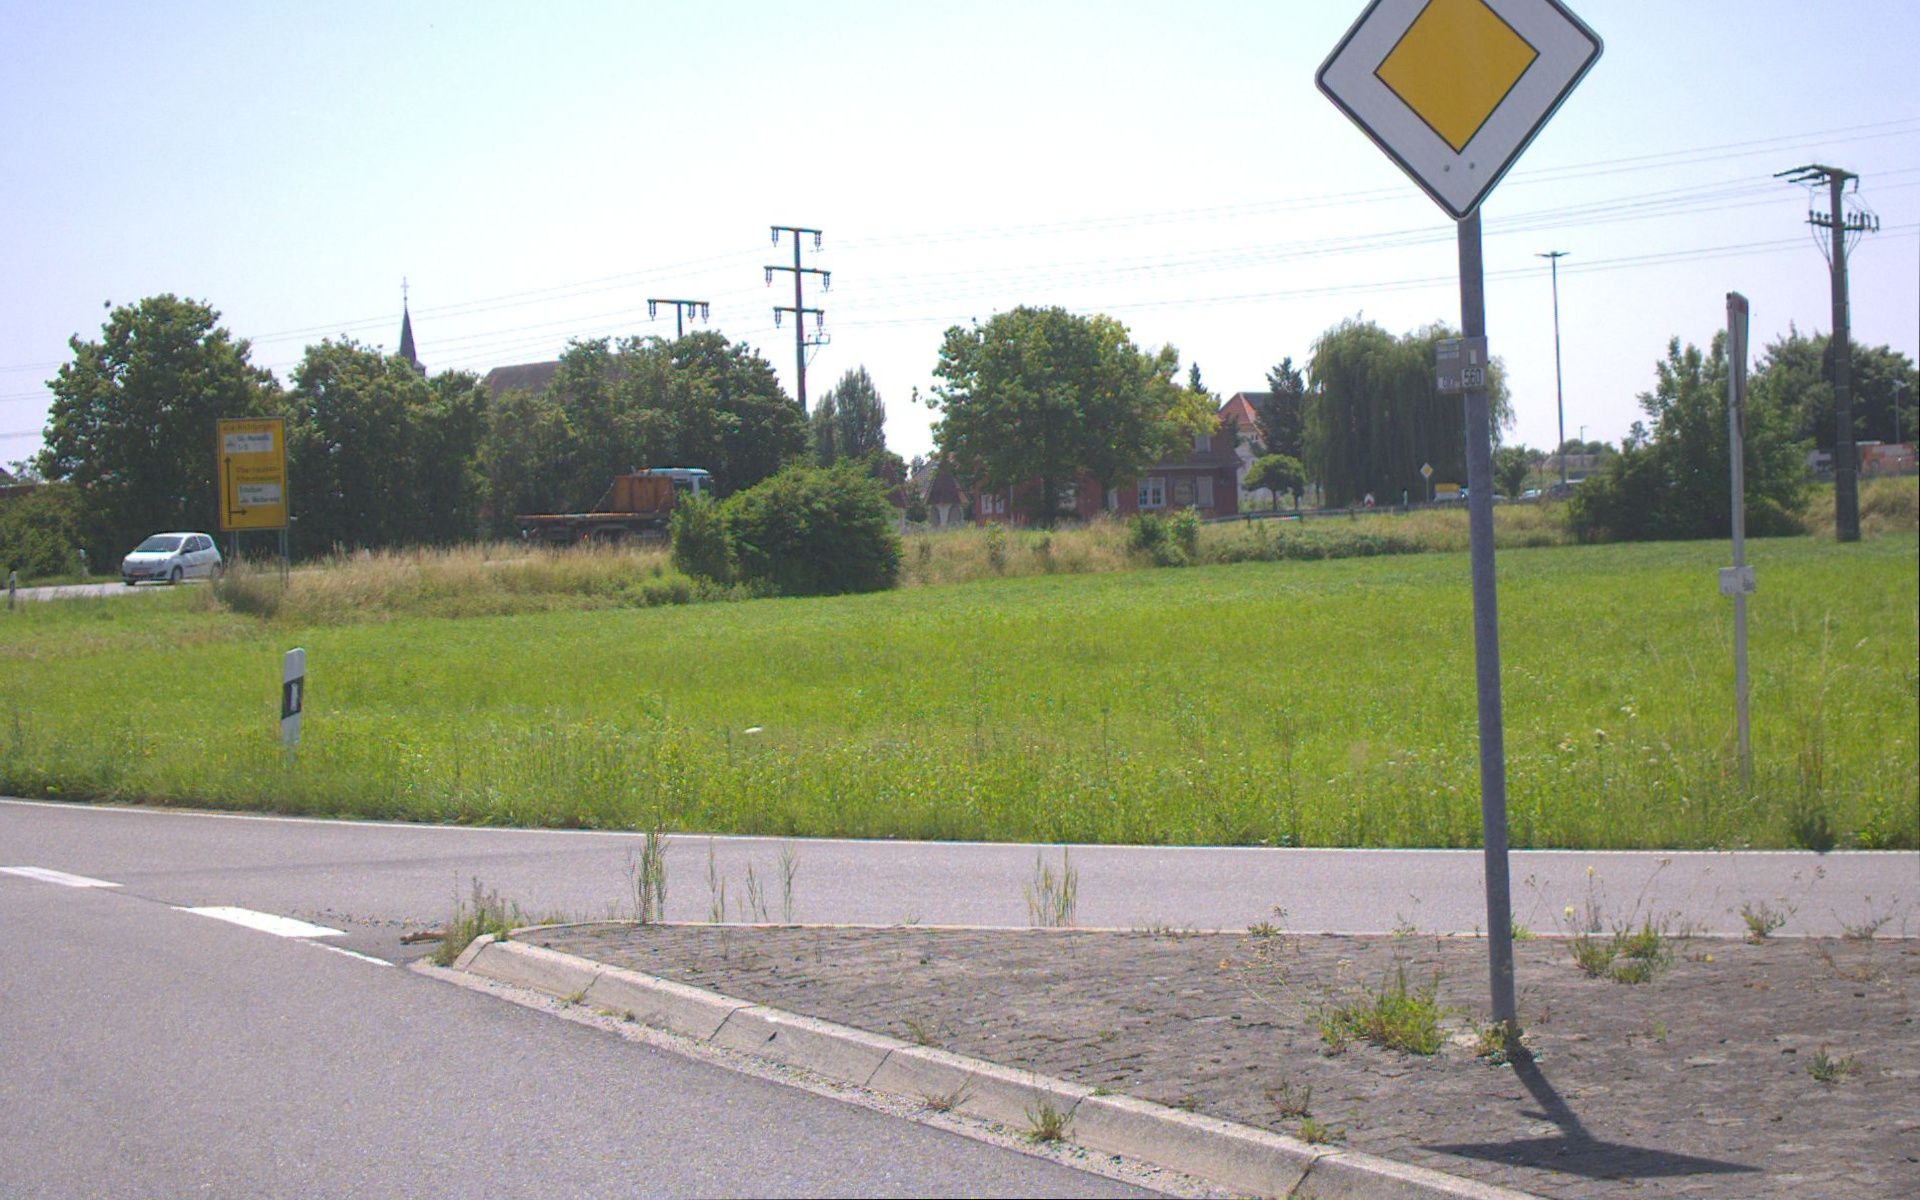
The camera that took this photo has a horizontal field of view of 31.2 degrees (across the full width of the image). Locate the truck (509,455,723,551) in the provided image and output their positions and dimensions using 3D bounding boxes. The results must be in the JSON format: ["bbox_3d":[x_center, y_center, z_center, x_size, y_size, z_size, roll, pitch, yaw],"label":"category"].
[{"bbox_3d":[-11.754,-3.273,118.543,3.103,3.126,8.790,0,0,27],"label":"truck"}]

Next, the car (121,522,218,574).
[{"bbox_3d":[-22.990,-1.500,100.087,1.537,1.438,3.606,1,0,8],"label":"car"}]
